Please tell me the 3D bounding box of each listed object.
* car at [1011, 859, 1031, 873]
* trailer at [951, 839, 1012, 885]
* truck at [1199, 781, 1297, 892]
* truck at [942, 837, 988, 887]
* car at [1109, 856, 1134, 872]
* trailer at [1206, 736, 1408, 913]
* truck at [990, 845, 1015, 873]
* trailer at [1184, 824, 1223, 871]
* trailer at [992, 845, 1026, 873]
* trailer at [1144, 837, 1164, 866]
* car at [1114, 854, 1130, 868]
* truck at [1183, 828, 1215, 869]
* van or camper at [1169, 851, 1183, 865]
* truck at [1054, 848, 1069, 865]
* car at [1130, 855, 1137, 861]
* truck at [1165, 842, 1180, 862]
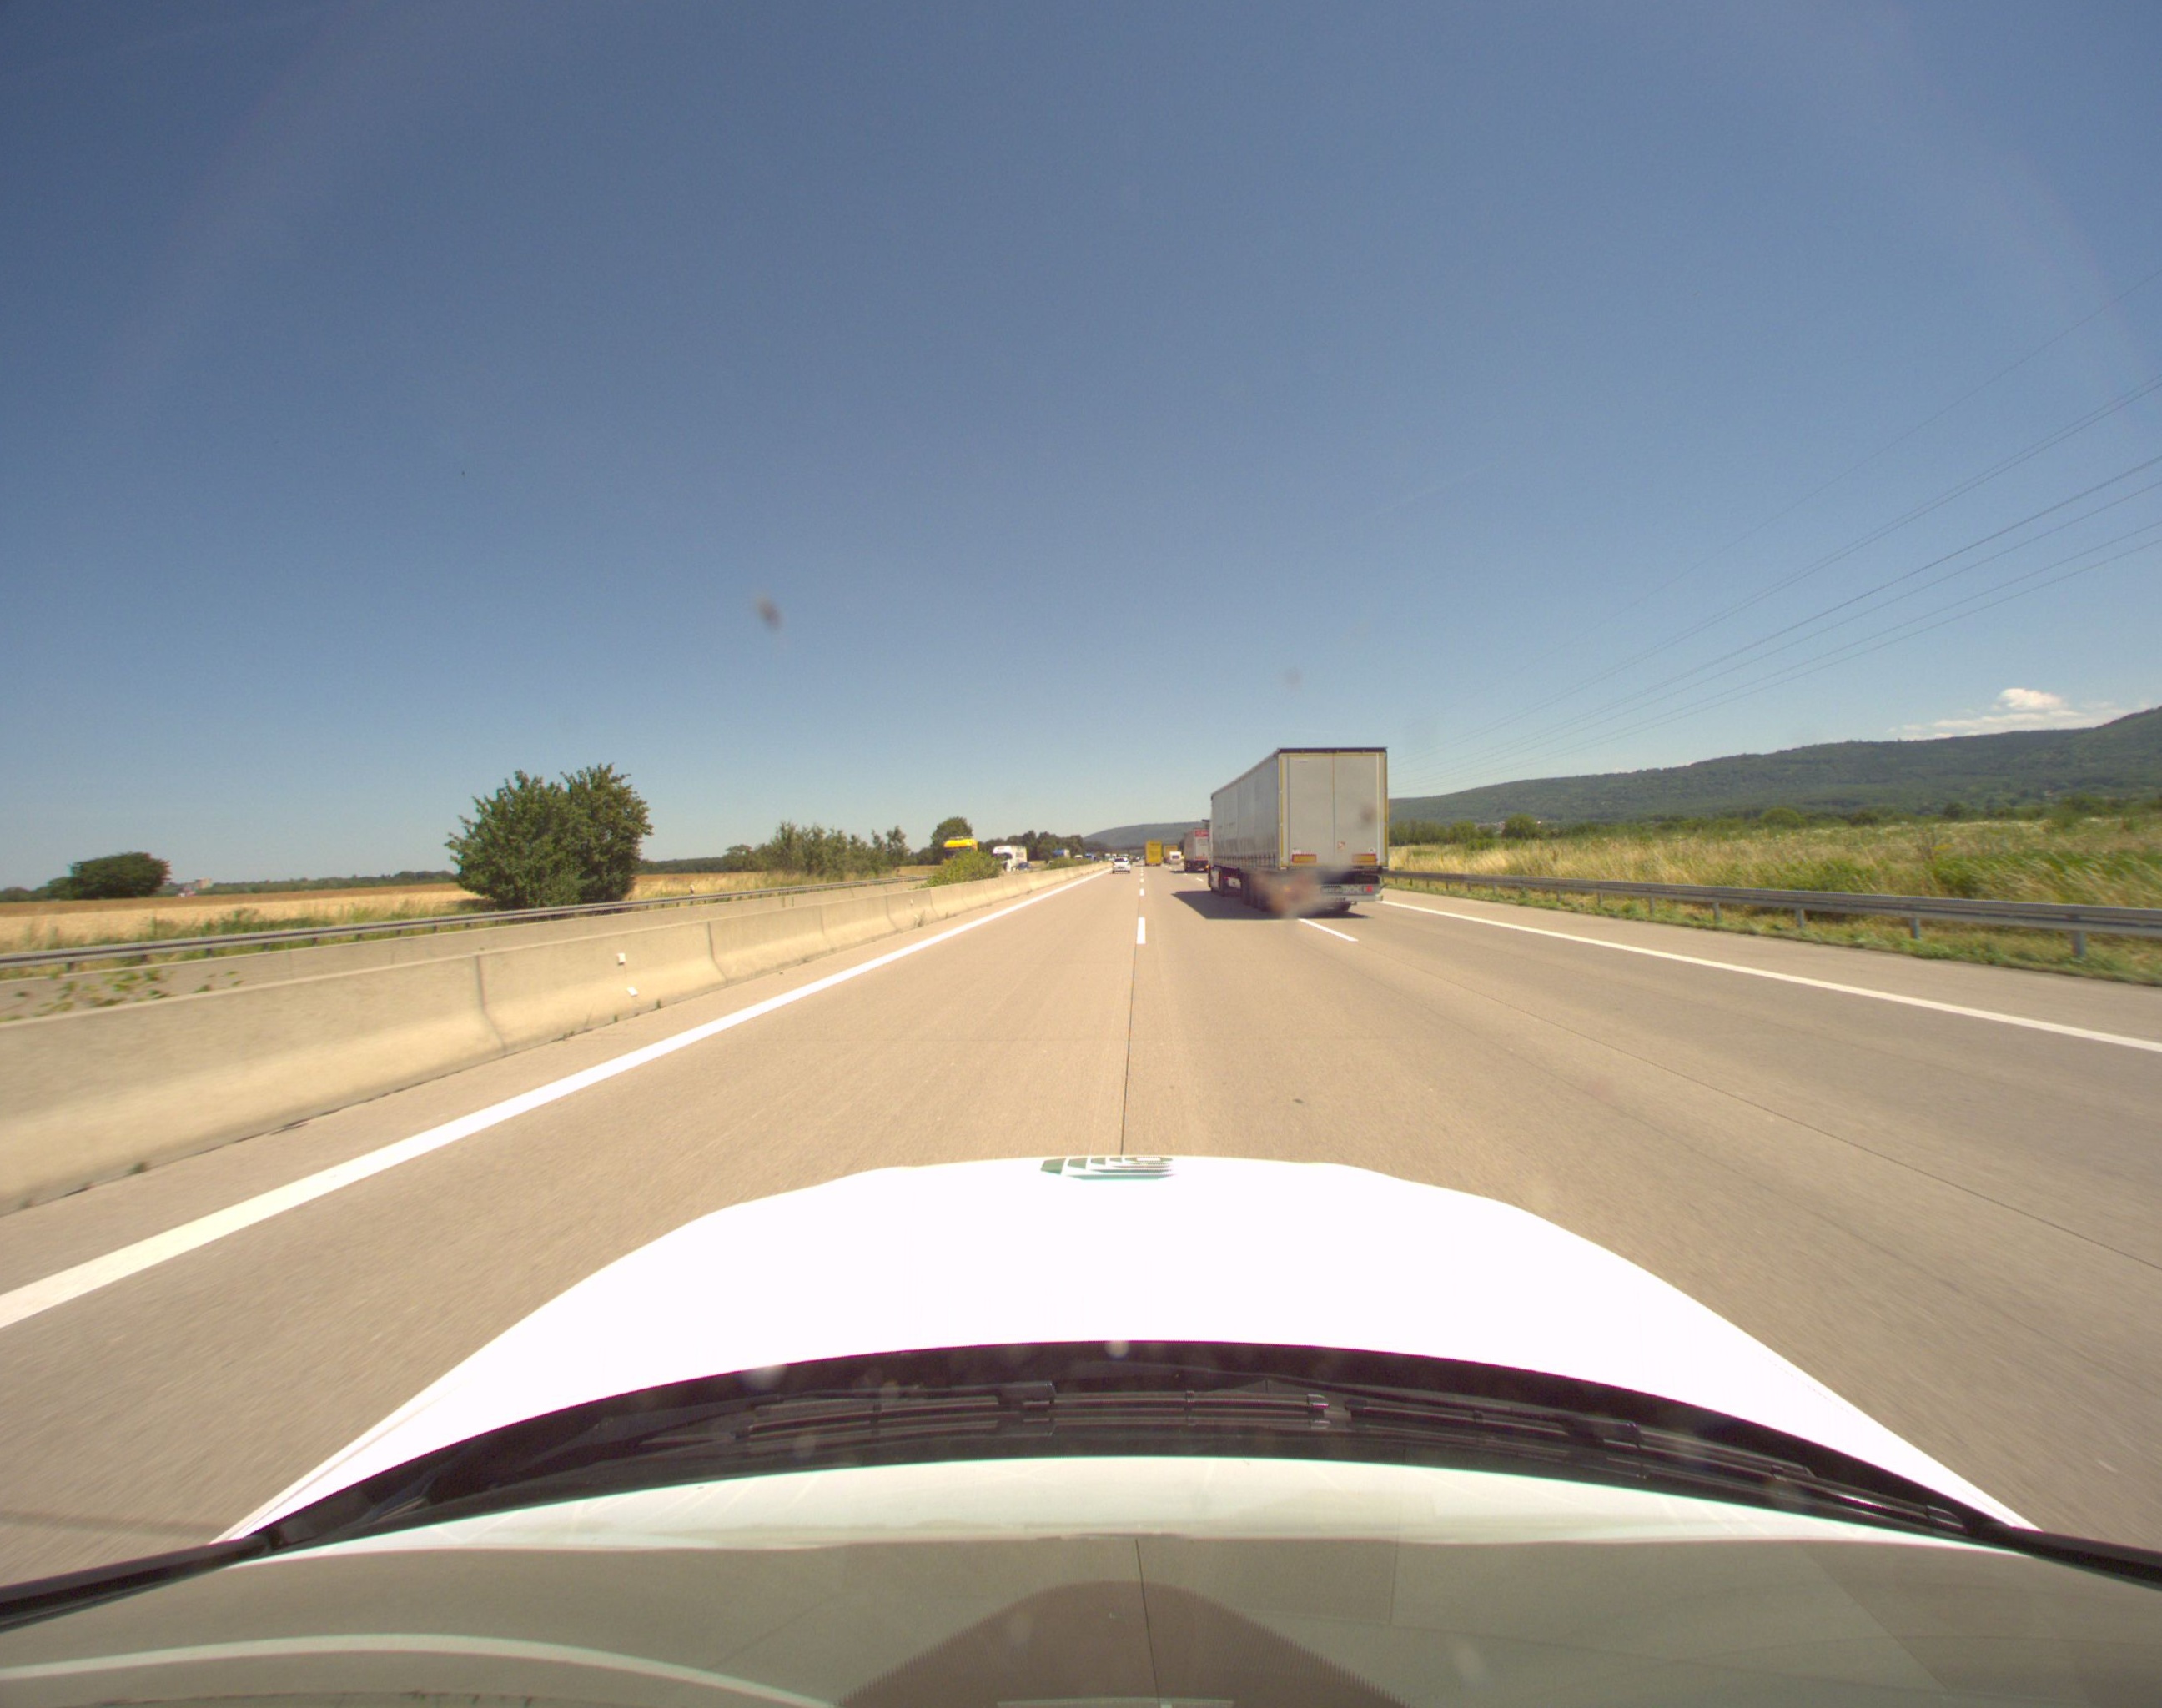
[{"bbox_3d":[-7.635,1.495,104.259,1.985,1.584,4.374,-2,0,3],"label":"car"},{"bbox_3d":[-9.211,0.709,77.735,2.763,4.039,14.631,0,0,5],"label":"trailer"},{"bbox_3d":[6.563,-0.645,32.820,2.973,4.062,5.480,0,0,2],"label":"truck"},{"bbox_3d":[-9.868,0.665,69.526,2.731,4.080,5.546,0,0,4],"label":"truck"},{"bbox_3d":[3.866,0.926,77.191,2.097,1.536,4.128,0,0,5],"label":"car"},{"bbox_3d":[6.296,-0.656,25.871,3.006,4.061,14.214,0,0,2],"label":"trailer"},{"bbox_3d":[-10.854,0.683,112.852,2.758,3.840,4.456,0,0,4],"label":"truck"},{"bbox_3d":[11.535,-0.544,77.511,2.860,4.100,13.531,0,0,5],"label":"trailer"},{"bbox_3d":[-10.411,0.706,119.133,2.758,3.802,13.843,0,0,4],"label":"trailer"},{"bbox_3d":[12.374,-0.401,138.029,3.201,4.563,13.473,0,0,5],"label":"trailer"},{"bbox_3d":[6.130,1.038,122.084,2.244,2.013,4.303,0,0,5],"label":"car"},{"bbox_3d":[12.144,-0.531,83.984,2.892,4.101,6.280,0,0,5],"label":"truck"},{"bbox_3d":[17.633,0.753,151.323,2.214,2.531,5.436,0,0,4],"label":"van or camper"},{"bbox_3d":[-4.321,0.621,185.605,2.884,3.864,5.691,0,0,4],"label":"truck"},{"bbox_3d":[15.273,1.101,236.341,1.775,1.881,4.005,0,0,5],"label":"car"},{"bbox_3d":[20.092,-0.357,179.711,2.985,4.314,9.695,0,0,4],"label":"truck"}]
